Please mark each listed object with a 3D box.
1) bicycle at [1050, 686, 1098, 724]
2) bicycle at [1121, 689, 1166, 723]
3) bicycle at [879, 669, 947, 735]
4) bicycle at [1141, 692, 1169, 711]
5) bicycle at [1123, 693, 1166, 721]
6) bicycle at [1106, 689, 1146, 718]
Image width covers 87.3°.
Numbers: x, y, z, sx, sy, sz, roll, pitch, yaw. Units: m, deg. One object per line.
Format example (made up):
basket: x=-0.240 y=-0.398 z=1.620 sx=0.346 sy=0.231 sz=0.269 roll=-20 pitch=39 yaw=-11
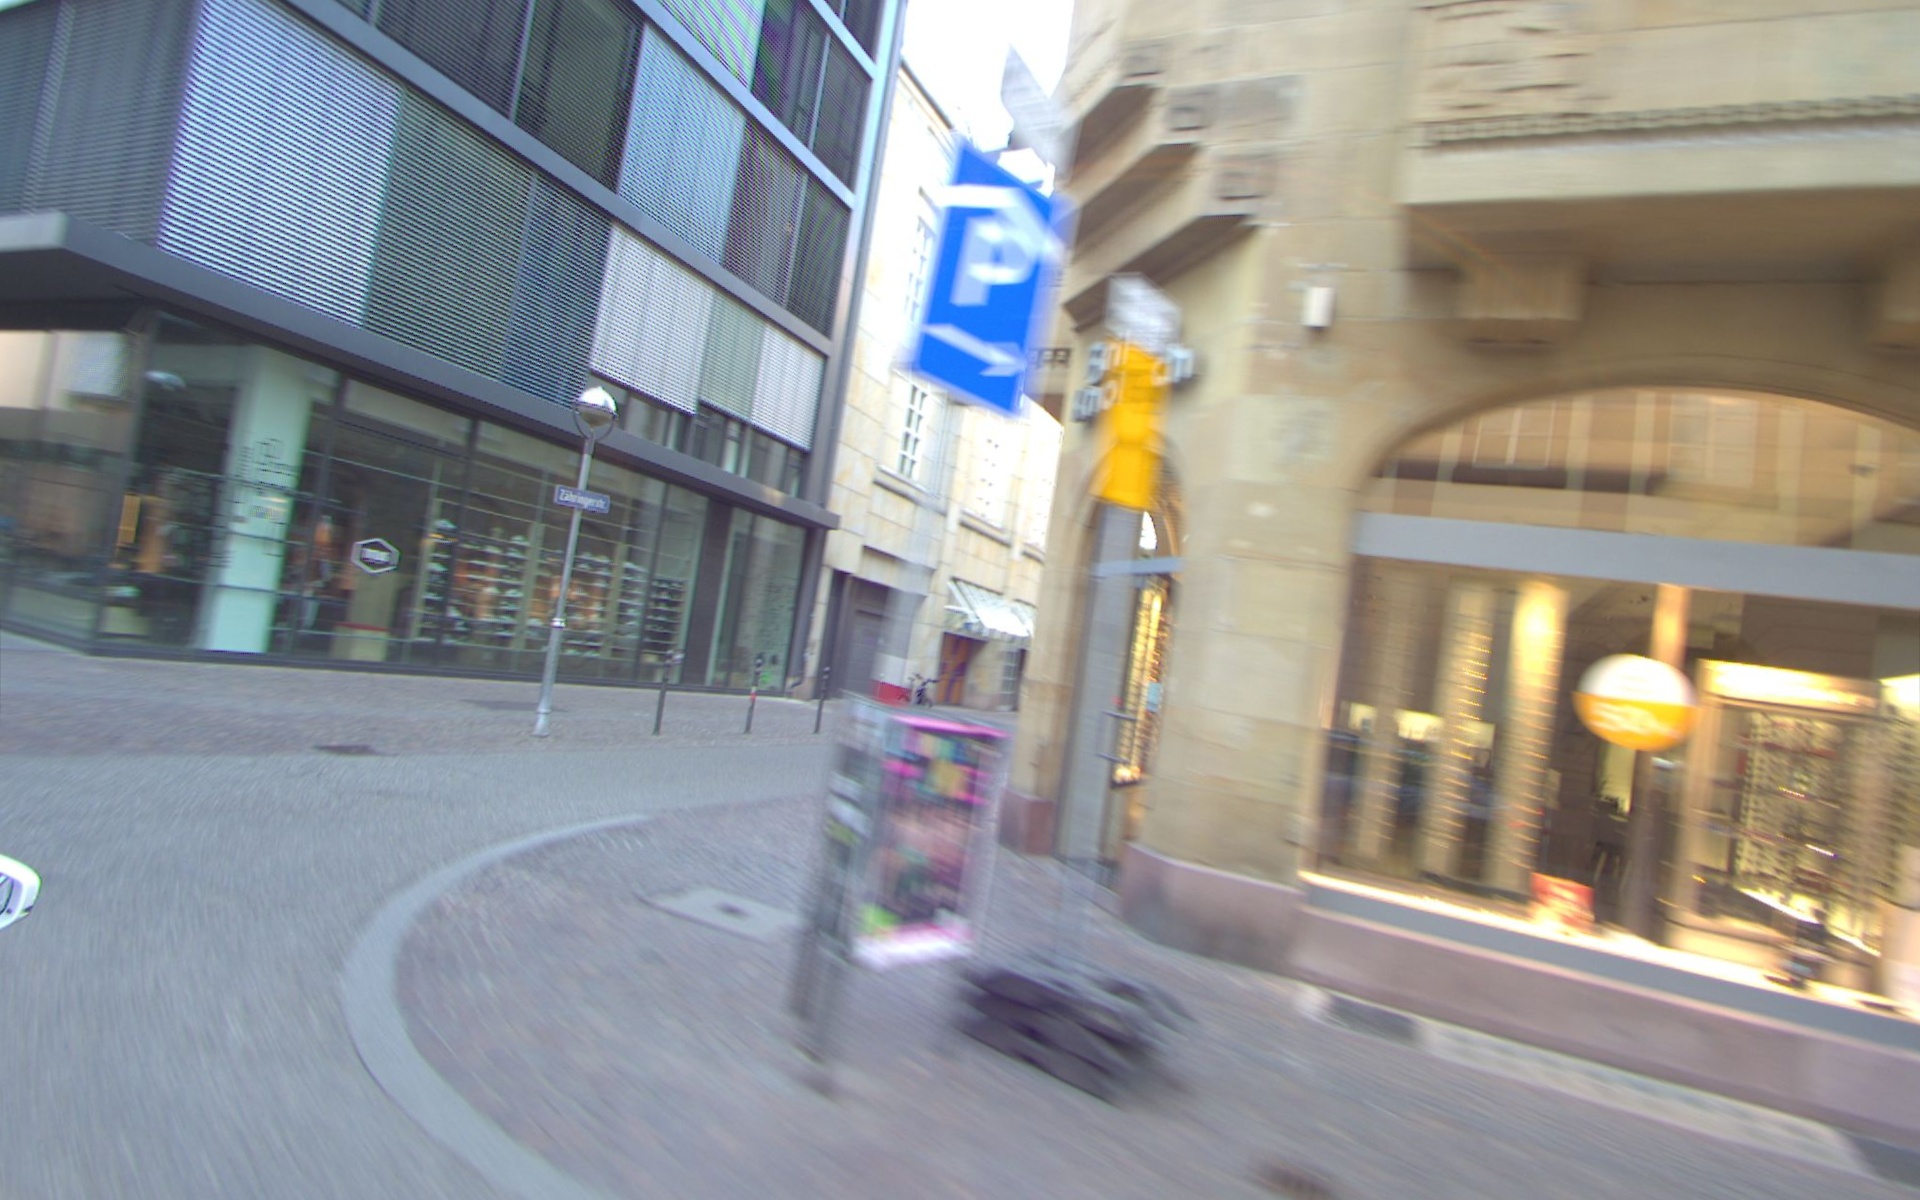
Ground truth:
bicycle: x=3.959 y=3.657 z=34.870 sx=0.686 sy=1.124 sz=1.772 roll=6 pitch=-4 yaw=39
bicycle: x=8.586 y=4.958 z=47.175 sx=1.883 sy=1.274 sz=0.810 roll=8 pitch=-2 yaw=5
bicycle: x=-0.874 y=1.967 z=19.226 sx=0.404 sy=1.144 sz=1.933 roll=8 pitch=-3 yaw=22
bicycle: x=15.046 y=7.833 z=77.644 sx=1.962 sy=1.195 sz=0.695 roll=6 pitch=-2 yaw=6
bicycle: x=9.073 y=5.270 z=49.584 sx=1.883 sy=1.113 sz=0.697 roll=8 pitch=-2 yaw=5
bicycle: x=8.582 y=5.365 z=52.113 sx=1.883 sy=1.195 sz=0.697 roll=8 pitch=-2 yaw=8
